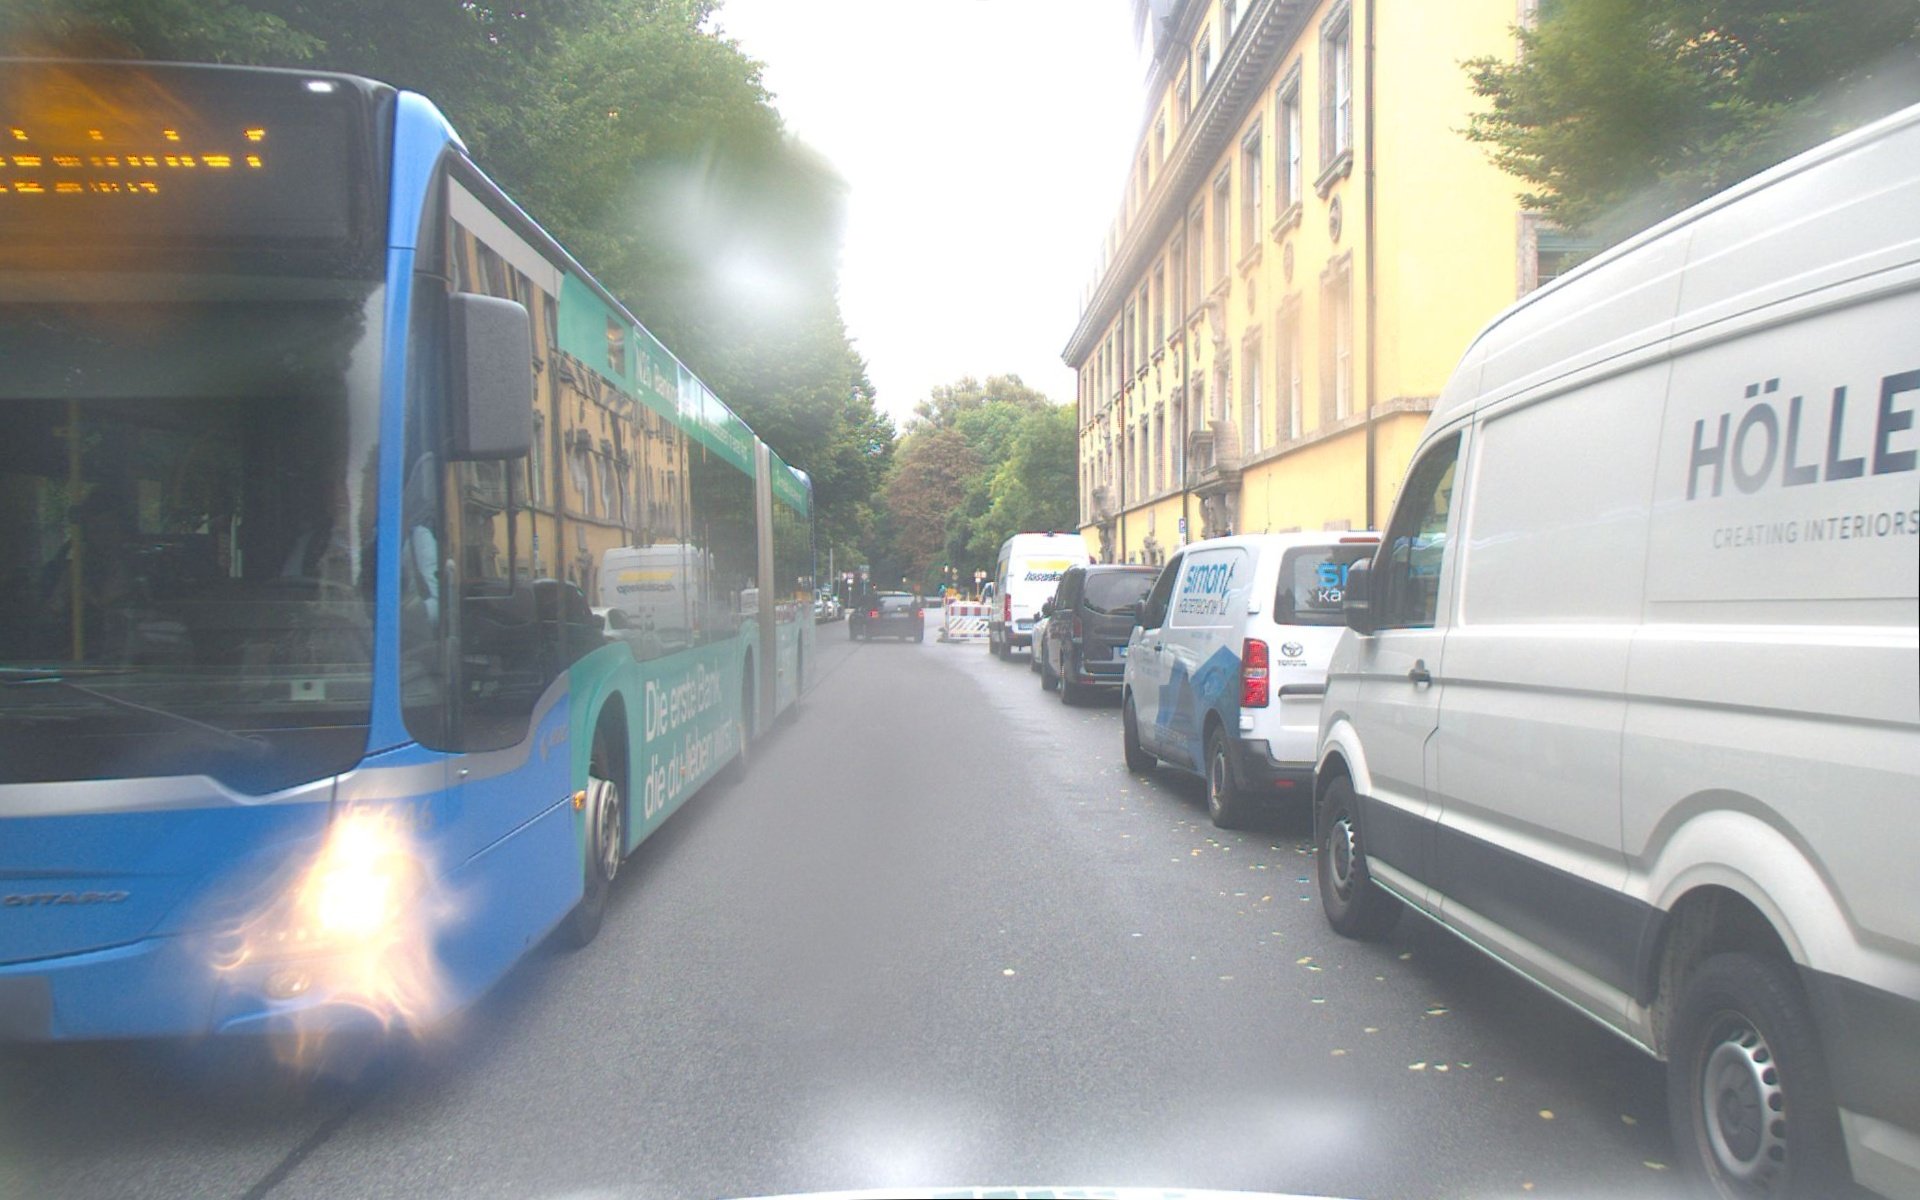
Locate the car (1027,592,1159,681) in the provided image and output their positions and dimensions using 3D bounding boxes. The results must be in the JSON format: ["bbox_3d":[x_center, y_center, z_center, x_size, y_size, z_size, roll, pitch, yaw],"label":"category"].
[{"bbox_3d":[2.317,0.615,29.848,1.833,1.483,4.252,0,0,-3],"label":"car"}]

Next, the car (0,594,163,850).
[{"bbox_3d":[-6.423,0.712,9.680,1.754,1.479,3.946,0,0,-3],"label":"car"}]

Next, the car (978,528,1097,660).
[{"bbox_3d":[1.645,-0.114,37.950,2.013,2.720,7.610,0,0,-3],"label":"car"}]

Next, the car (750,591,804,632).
[{"bbox_3d":[-6.844,0.411,62.155,1.692,1.447,4.250,0,0,-2],"label":"car"}]

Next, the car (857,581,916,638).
[{"bbox_3d":[-2.119,0.268,48.452,1.545,1.611,4.043,0,0,-1],"label":"car"}]

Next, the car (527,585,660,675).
[{"bbox_3d":[-6.454,0.501,29.531,1.639,1.495,4.101,0,0,-3],"label":"car"}]

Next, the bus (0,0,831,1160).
[{"bbox_3d":[-2.858,-0.150,13.326,2.802,3.296,18.417,0,-1,-2],"label":"bus"}]

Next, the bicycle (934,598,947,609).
[{"bbox_3d":[-1.558,0.283,132.136,0.667,0.844,2.105,0,-1,-10],"label":"bicycle"}]

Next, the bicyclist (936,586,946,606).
[{"bbox_3d":[-1.543,-0.314,132.072,0.668,1.530,0.899,-1,0,-9],"label":"bicyclist"}]

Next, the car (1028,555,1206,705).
[{"bbox_3d":[2.106,0.382,23.587,1.833,1.901,4.984,0,0,-3],"label":"car"}]

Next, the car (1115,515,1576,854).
[{"bbox_3d":[2.485,0.488,12.171,1.973,1.940,5.161,1,0,-3],"label":"car"}]

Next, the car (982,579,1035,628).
[{"bbox_3d":[1.806,0.165,62.700,1.704,1.780,4.354,0,-1,-2],"label":"car"}]

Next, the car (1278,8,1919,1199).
[{"bbox_3d":[2.712,0.192,5.273,2.053,2.531,5.736,0,-1,-3],"label":"car"}]

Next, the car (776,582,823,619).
[{"bbox_3d":[-7.448,0.029,77.012,1.778,1.629,4.512,0,0,-1],"label":"car"}]

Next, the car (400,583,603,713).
[{"bbox_3d":[-6.265,0.609,23.113,1.748,1.625,4.582,0,0,-3],"label":"car"}]
